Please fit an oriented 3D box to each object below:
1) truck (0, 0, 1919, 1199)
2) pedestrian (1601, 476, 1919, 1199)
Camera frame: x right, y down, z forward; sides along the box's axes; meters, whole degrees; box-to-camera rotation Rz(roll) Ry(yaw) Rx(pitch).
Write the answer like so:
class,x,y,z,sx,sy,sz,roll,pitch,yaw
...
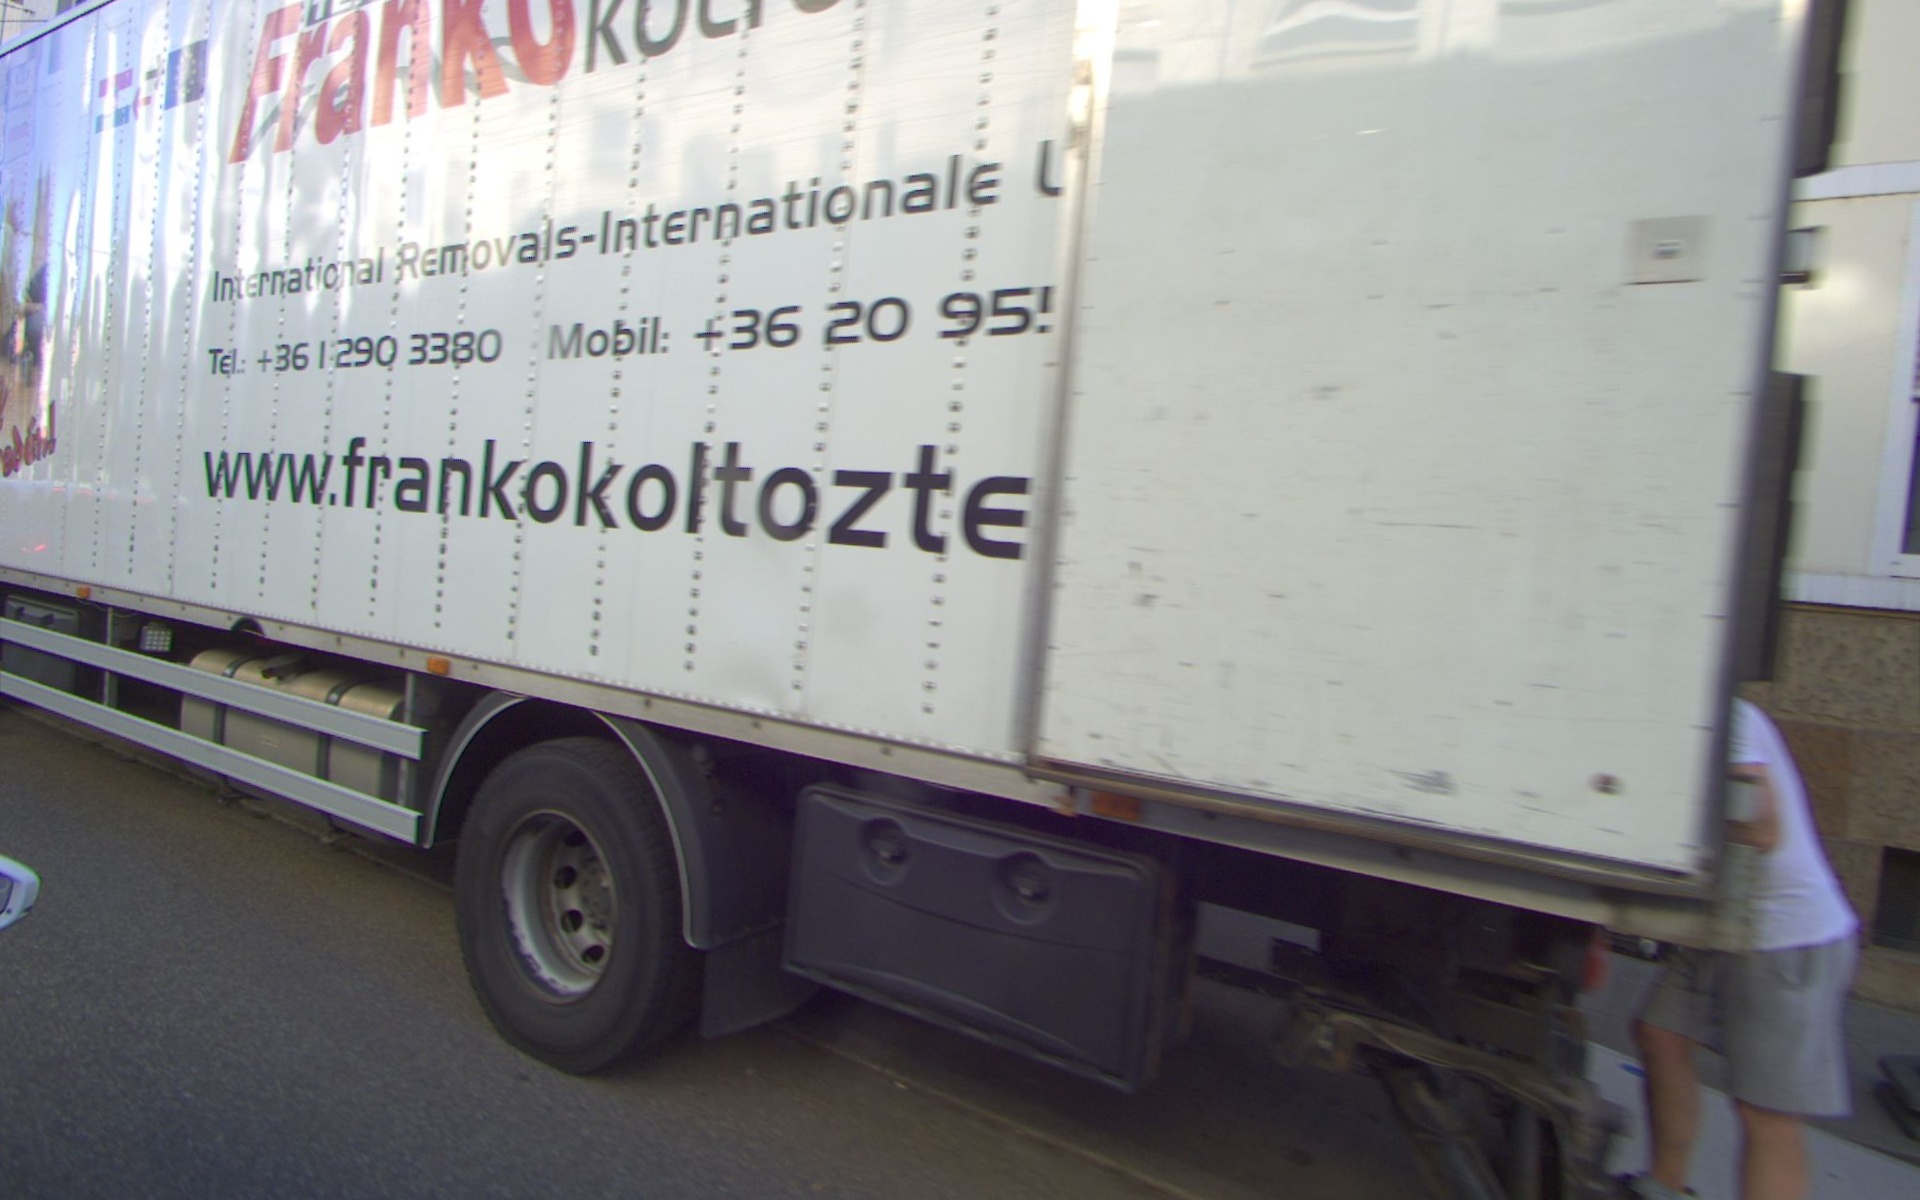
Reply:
class,x,y,z,sx,sy,sz,roll,pitch,yaw
truck,-2.904,-0.921,5.573,11.581,4.124,2.863,7,1,31
pedestrian,1.922,0.645,2.448,0.409,1.798,0.513,7,1,31
